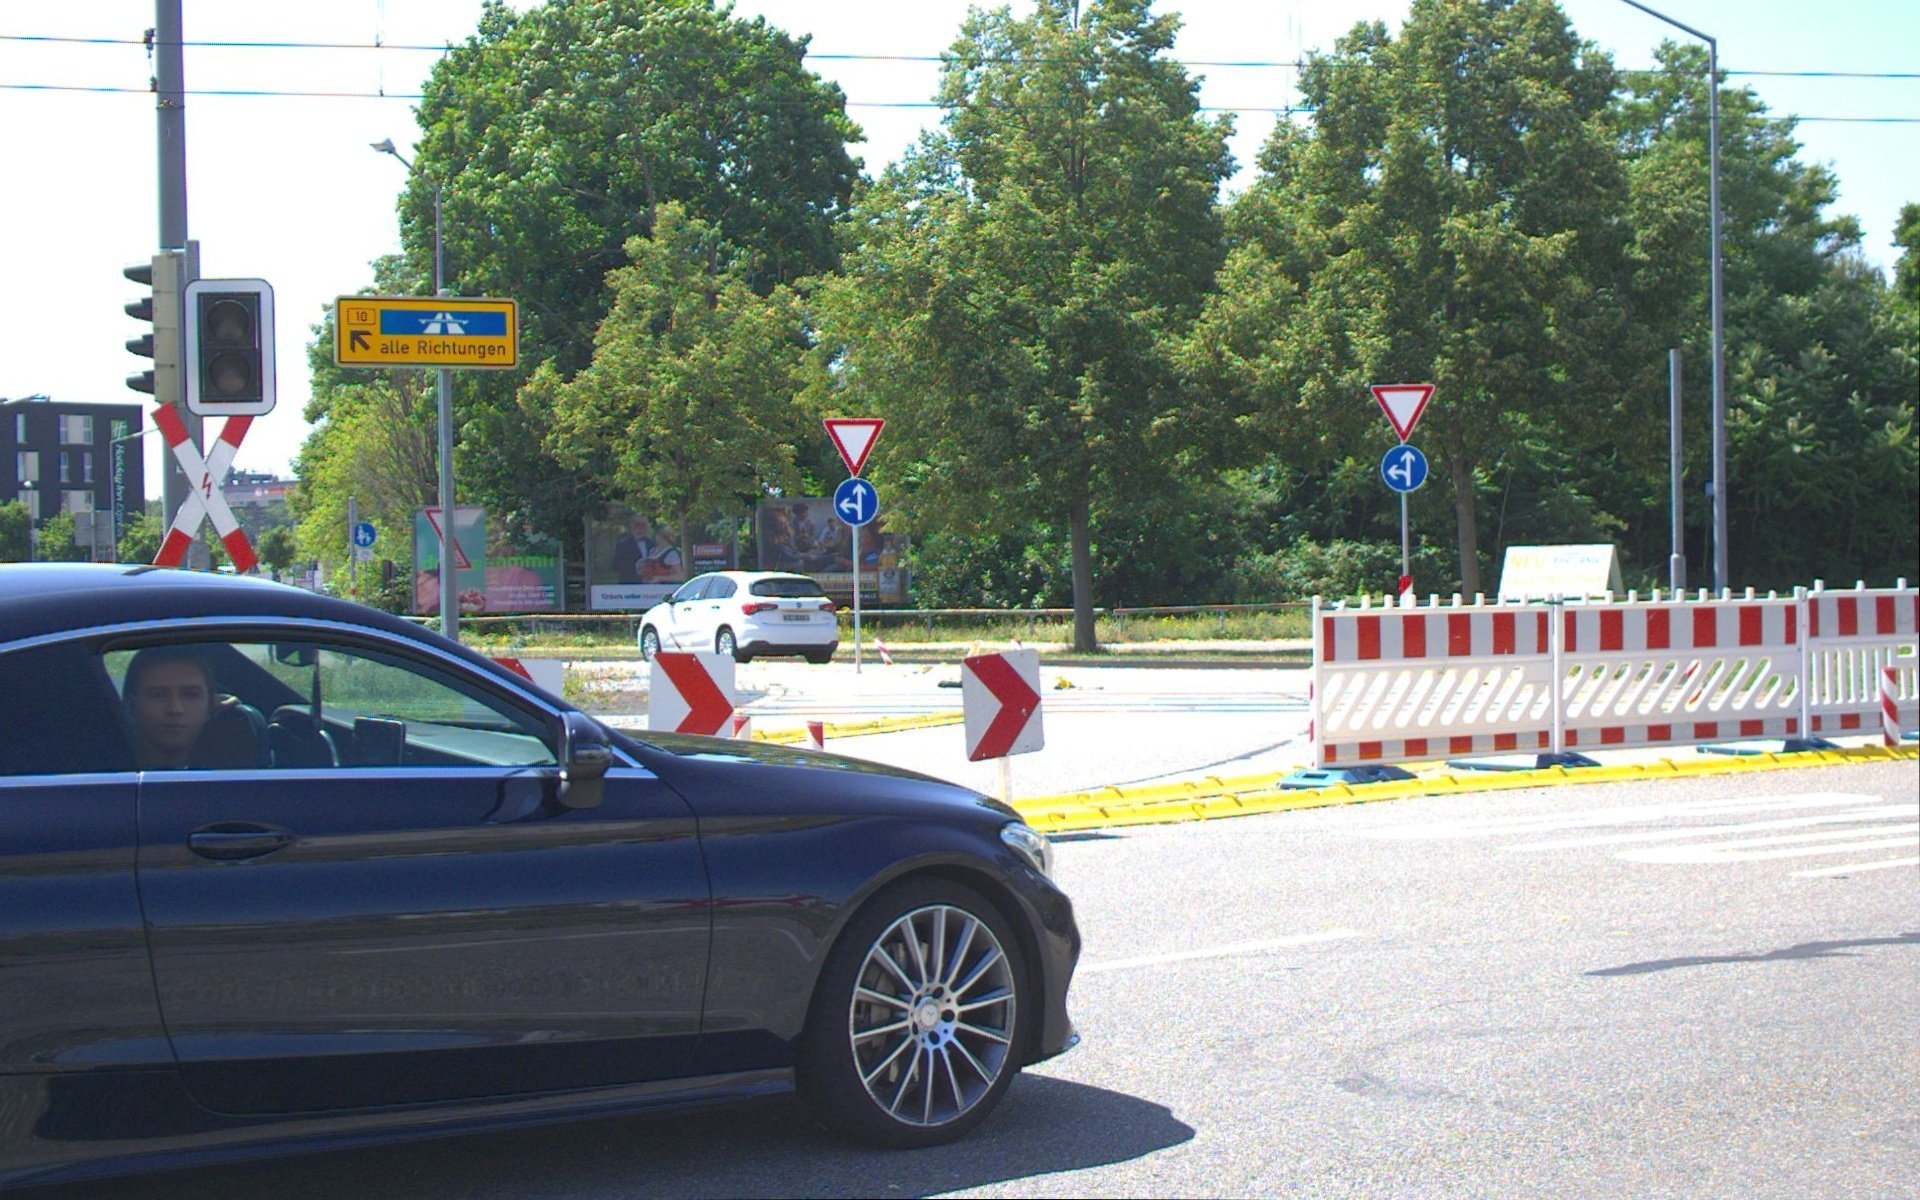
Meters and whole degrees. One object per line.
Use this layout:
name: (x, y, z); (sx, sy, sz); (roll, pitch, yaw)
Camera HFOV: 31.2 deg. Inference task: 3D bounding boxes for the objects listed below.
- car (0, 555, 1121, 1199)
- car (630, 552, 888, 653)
car: (-2.094, 0.635, 7.429); (4.941, 1.431, 1.857); (-1, 1, -41)
car: (-3.191, 0.025, 53.813); (1.994, 1.481, 4.366); (-2, 1, -35)
